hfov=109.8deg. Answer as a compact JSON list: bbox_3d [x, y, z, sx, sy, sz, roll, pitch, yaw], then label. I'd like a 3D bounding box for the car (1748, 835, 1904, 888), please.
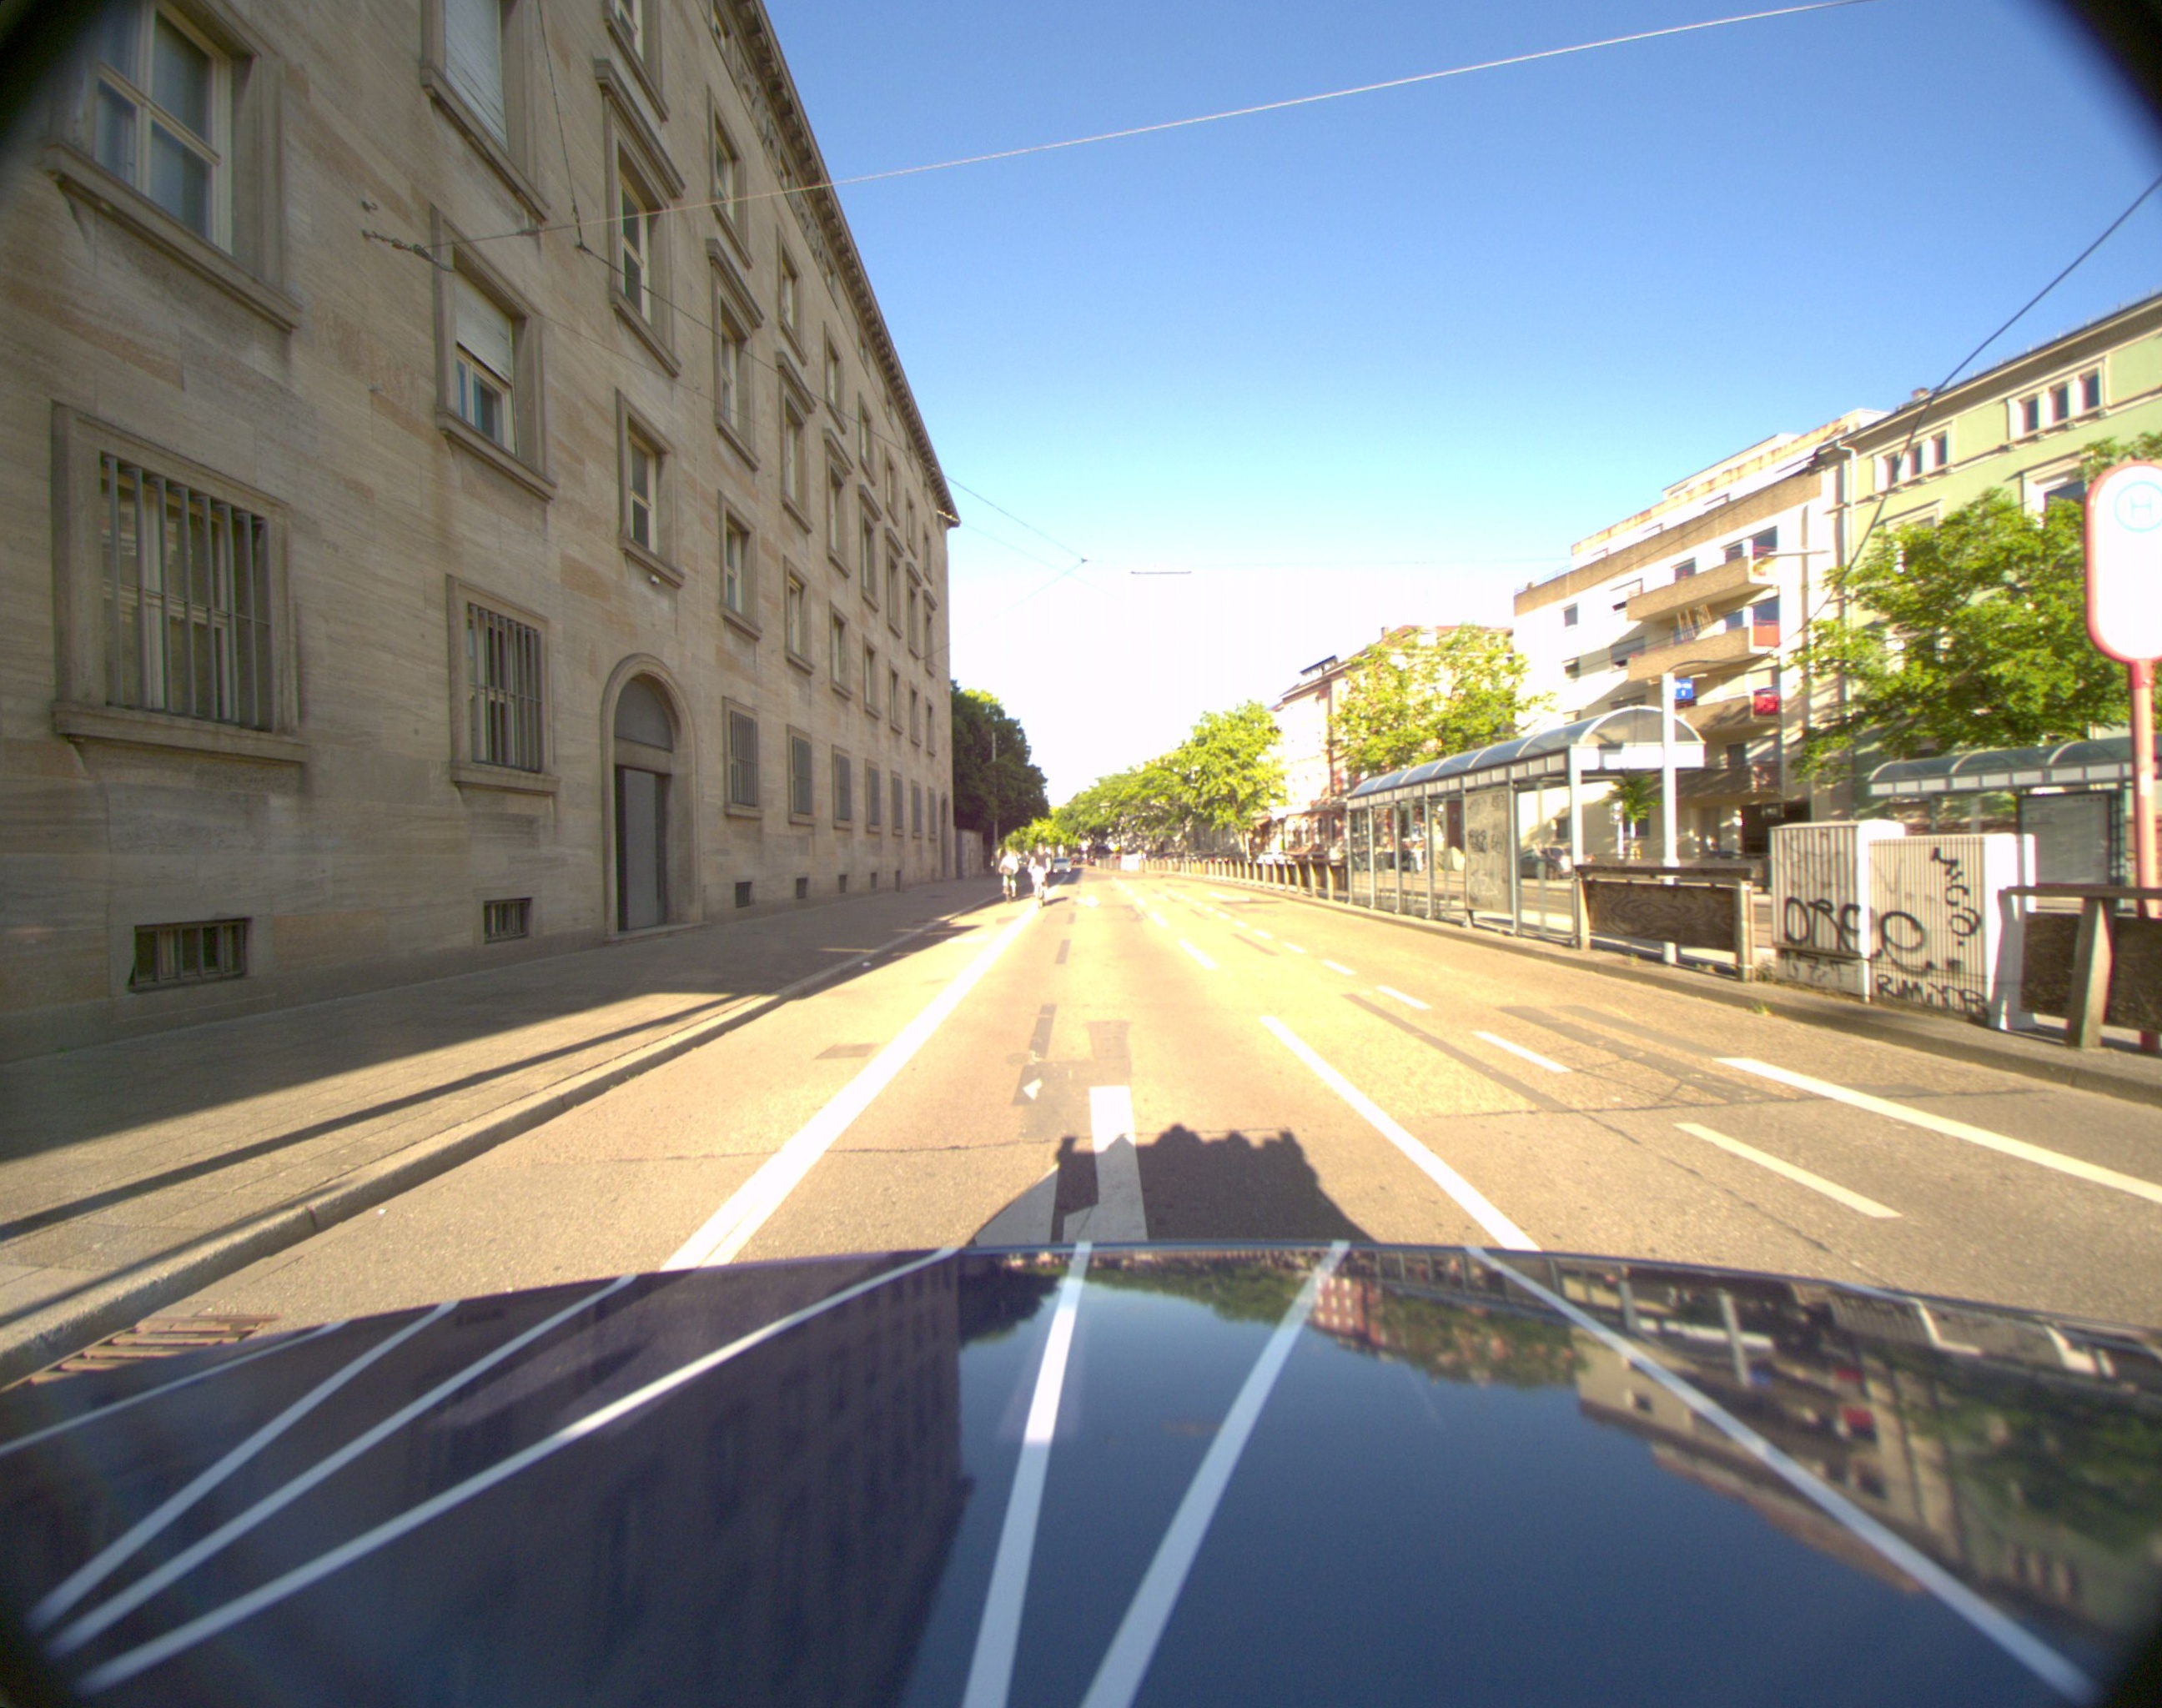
[{"bbox_3d":[23.849,0.218,24.365,4.002,1.573,1.761,-1,0,-14],"label":"car"}]

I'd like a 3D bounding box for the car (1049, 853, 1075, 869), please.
[{"bbox_3d":[-1.797,0.631,69.997,1.772,1.429,3.830,-1,0,-11],"label":"car"}]

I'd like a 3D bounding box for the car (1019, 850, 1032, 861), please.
[{"bbox_3d":[-10.409,0.215,143.408,2.000,2.002,3.996,-1,0,-10],"label":"car"}]

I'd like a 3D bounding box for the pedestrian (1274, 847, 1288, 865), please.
[{"bbox_3d":[17.977,0.158,68.453,0.869,1.619,0.890,-1,1,-15],"label":"pedestrian"}]

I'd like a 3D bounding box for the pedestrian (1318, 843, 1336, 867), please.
[{"bbox_3d":[17.886,0.058,55.296,0.855,1.710,1.019,-1,1,-8],"label":"pedestrian"}]

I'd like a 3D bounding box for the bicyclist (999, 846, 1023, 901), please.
[{"bbox_3d":[-2.304,0.624,24.938,0.625,1.729,0.688,-3,1,1],"label":"bicyclist"}]

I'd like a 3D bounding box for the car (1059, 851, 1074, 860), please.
[{"bbox_3d":[-2.442,0.270,125.564,1.648,1.480,3.995,-2,1,-12],"label":"car"}]

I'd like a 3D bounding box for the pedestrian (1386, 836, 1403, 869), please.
[{"bbox_3d":[21.235,-0.086,51.473,0.813,2.194,0.756,-1,1,-10],"label":"pedestrian"}]

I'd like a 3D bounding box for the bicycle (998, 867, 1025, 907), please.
[{"bbox_3d":[-2.280,1.070,25.042,0.625,1.214,1.659,-3,1,1],"label":"bicycle"}]

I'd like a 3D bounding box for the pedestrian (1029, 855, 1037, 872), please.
[{"bbox_3d":[-3.727,0.752,58.852,0.548,1.327,0.587,-1,1,7],"label":"pedestrian"}]

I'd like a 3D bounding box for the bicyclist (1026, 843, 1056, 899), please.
[{"bbox_3d":[-1.163,0.494,22.246,0.728,1.570,0.775,-3,1,1],"label":"bicyclist"}]

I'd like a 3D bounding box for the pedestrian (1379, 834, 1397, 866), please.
[{"bbox_3d":[21.154,-0.288,52.389,0.813,2.194,0.756,-1,1,-10],"label":"pedestrian"}]

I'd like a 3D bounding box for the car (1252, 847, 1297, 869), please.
[{"bbox_3d":[16.238,0.311,63.658,4.134,1.698,1.848,-1,1,-45],"label":"car"}]

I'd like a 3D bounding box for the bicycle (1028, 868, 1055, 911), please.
[{"bbox_3d":[-1.135,1.015,22.142,0.625,1.167,1.566,-3,0,1],"label":"bicycle"}]

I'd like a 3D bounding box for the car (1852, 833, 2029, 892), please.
[{"bbox_3d":[24.648,0.216,21.824,4.002,1.573,1.761,-1,0,-14],"label":"car"}]

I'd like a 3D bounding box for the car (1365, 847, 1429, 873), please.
[{"bbox_3d":[18.493,0.334,44.691,1.609,1.388,3.996,-1,0,-9],"label":"car"}]

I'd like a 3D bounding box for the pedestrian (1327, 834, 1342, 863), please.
[{"bbox_3d":[19.268,-0.433,57.756,0.813,2.194,0.756,-1,1,-10],"label":"pedestrian"}]

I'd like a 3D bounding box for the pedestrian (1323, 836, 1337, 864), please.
[{"bbox_3d":[19.415,-0.298,59.194,0.812,2.194,0.756,-1,1,-4],"label":"pedestrian"}]

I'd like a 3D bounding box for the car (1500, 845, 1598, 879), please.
[{"bbox_3d":[20.900,0.328,34.105,1.654,1.419,3.737,-1,0,-11],"label":"car"}]
